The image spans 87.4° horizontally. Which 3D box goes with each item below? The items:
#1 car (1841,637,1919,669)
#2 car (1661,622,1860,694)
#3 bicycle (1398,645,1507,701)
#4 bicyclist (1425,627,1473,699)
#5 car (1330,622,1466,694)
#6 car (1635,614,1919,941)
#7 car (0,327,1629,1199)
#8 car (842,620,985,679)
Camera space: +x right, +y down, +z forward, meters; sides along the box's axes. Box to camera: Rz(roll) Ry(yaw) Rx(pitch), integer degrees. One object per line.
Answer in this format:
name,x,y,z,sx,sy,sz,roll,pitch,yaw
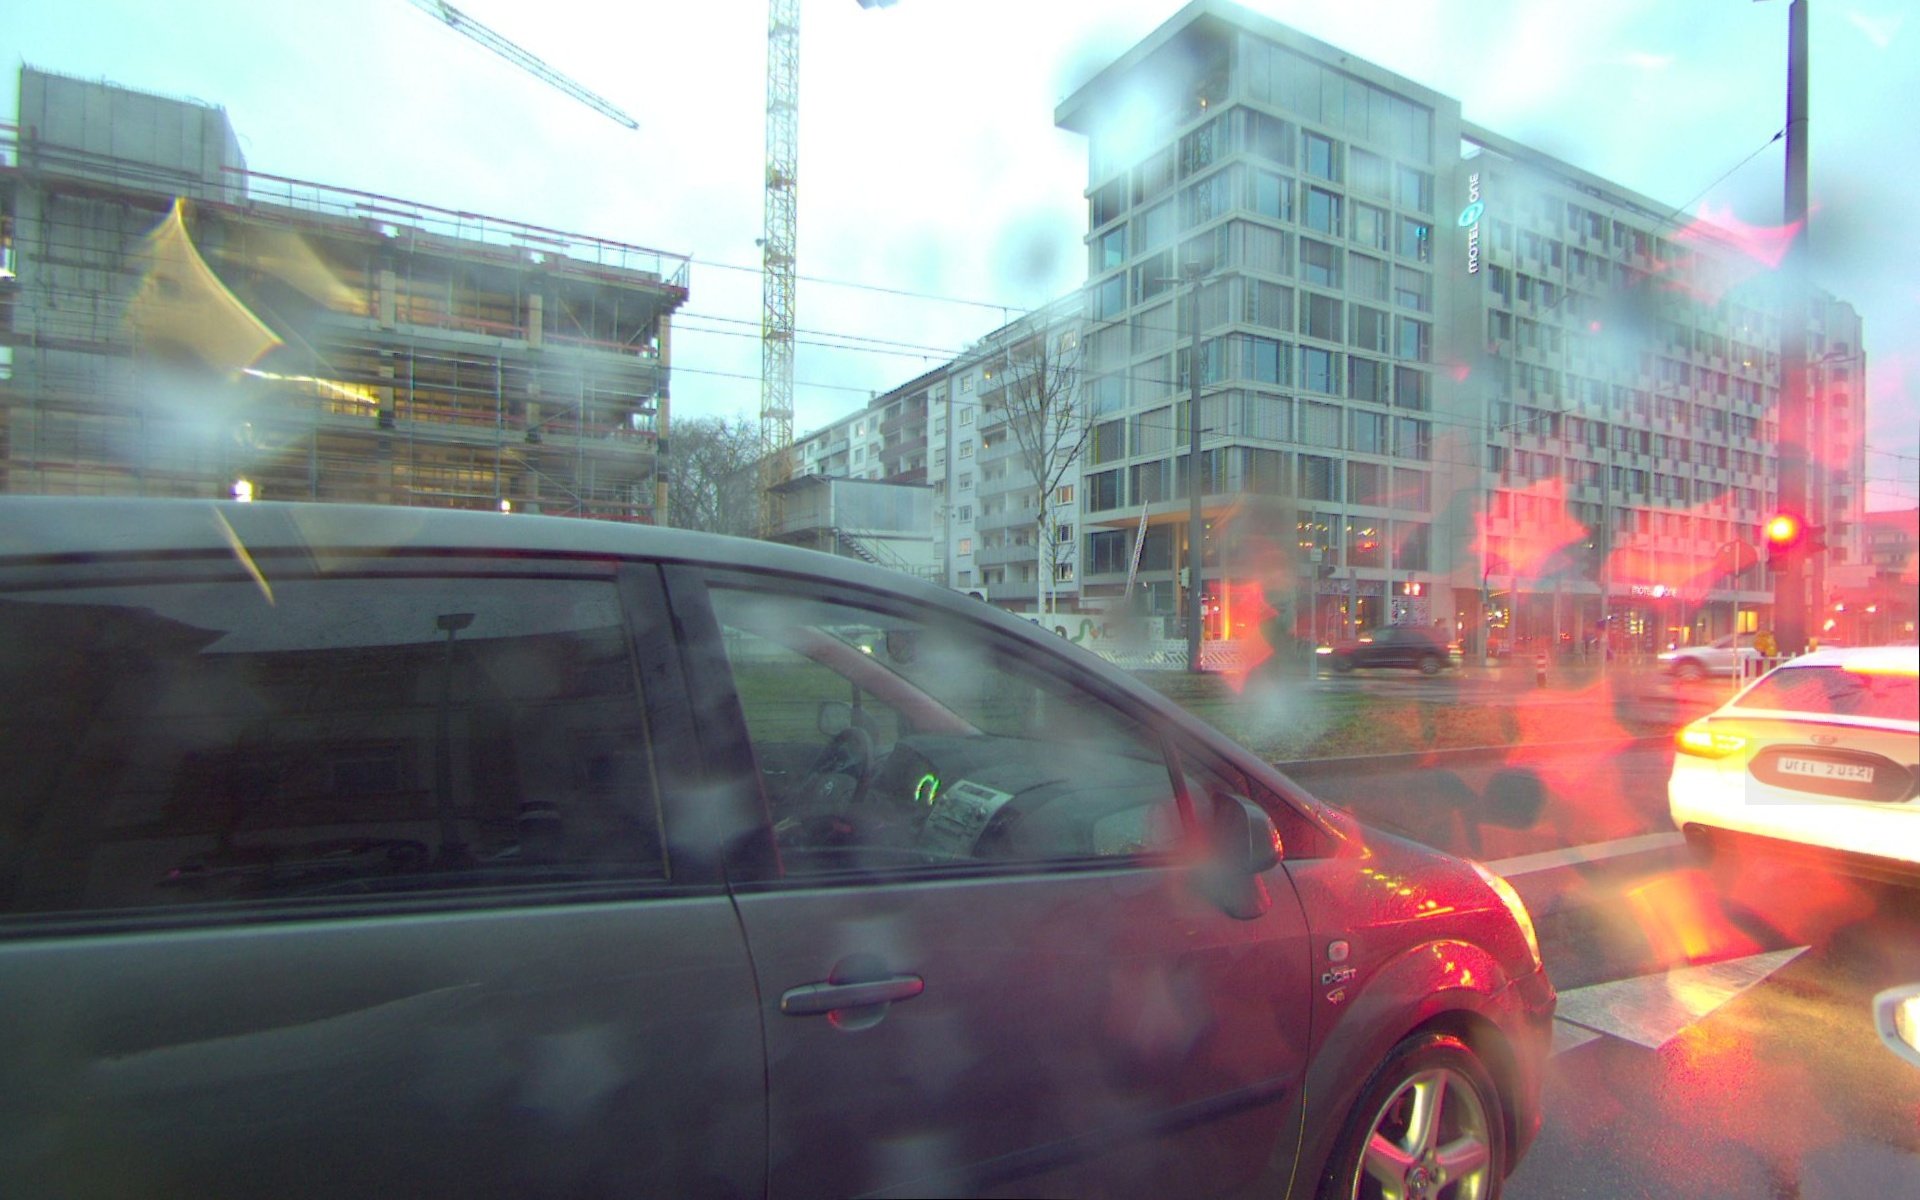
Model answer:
car,47.289,2.705,51.284,5.035,1.481,1.984,2,0,-30
car,22.376,1.565,28.205,1.942,1.709,4.037,2,0,-39
bicycle,20.422,2.995,41.818,1.182,2.040,3.959,2,0,-36
bicyclist,20.383,2.593,41.867,1.182,2.865,1.338,2,0,-36
car,14.570,1.881,33.606,4.004,2.151,1.958,2,0,22
car,6.075,0.895,6.084,4.205,1.489,1.750,2,0,-32
car,-0.507,0.587,2.138,3.956,1.615,1.750,2,0,-32
car,-1.454,1.542,31.273,4.024,1.709,1.949,2,0,-22
